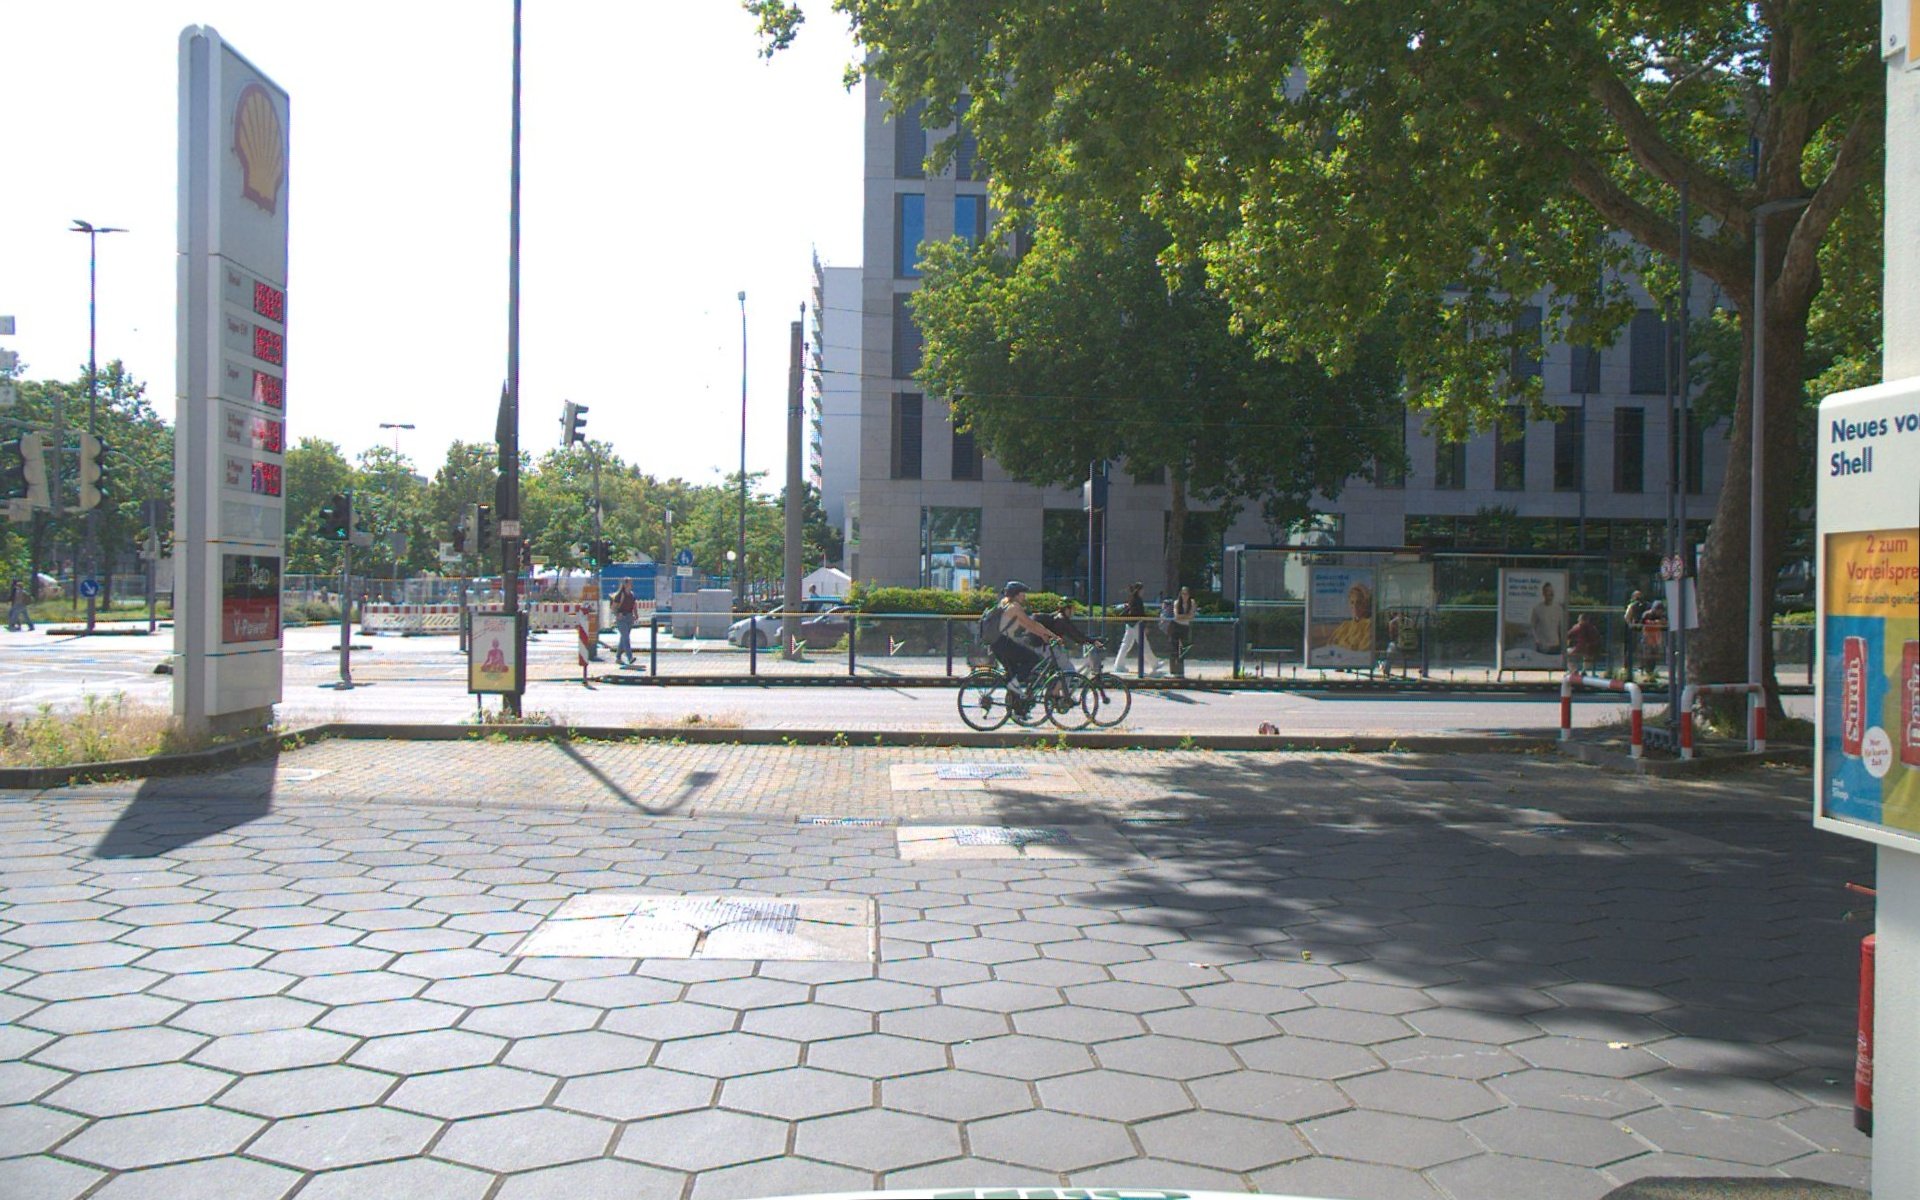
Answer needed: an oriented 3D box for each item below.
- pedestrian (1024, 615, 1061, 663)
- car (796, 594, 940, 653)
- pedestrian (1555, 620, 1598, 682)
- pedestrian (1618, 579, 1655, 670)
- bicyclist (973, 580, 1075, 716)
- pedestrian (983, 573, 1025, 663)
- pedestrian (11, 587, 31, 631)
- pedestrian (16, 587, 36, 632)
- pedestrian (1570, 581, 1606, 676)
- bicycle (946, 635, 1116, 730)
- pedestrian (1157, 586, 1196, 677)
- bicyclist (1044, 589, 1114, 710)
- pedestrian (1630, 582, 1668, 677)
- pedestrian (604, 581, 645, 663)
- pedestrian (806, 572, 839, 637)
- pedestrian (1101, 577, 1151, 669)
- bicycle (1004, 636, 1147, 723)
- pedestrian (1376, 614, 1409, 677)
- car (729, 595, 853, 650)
[{"bbox_3d":[1.570,0.747,31.577,0.676,0.895,0.503,1,0,5],"label":"pedestrian"},{"bbox_3d":[-2.621,0.647,46.679,3.913,1.579,1.700,1,0,-9],"label":"car"},{"bbox_3d":[11.606,0.954,31.129,0.615,1.158,0.524,1,0,3],"label":"pedestrian"},{"bbox_3d":[13.329,0.480,32.609,0.489,1.766,0.524,1,0,-1],"label":"pedestrian"},{"bbox_3d":[0.769,0.575,20.087,1.147,1.608,0.639,1,0,-7],"label":"bicyclist"},{"bbox_3d":[0.848,0.340,31.649,0.760,1.712,0.503,1,0,6],"label":"pedestrian"},{"bbox_3d":[-31.971,0.293,56.304,0.557,1.494,0.509,1,0,-28],"label":"pedestrian"},{"bbox_3d":[-31.299,0.322,55.434,0.557,1.494,0.509,1,0,-28],"label":"pedestrian"},{"bbox_3d":[11.848,0.535,31.209,0.489,1.766,0.406,1,0,-1],"label":"pedestrian"},{"bbox_3d":[0.853,0.996,20.089,1.981,1.101,0.639,1,0,-6],"label":"bicycle"},{"bbox_3d":[3.974,0.570,30.416,0.572,1.619,0.670,1,1,-4],"label":"pedestrian"},{"bbox_3d":[1.575,0.652,21.941,0.846,1.571,0.534,1,-1,-4],"label":"bicyclist"},{"bbox_3d":[12.952,0.557,31.094,0.489,1.766,0.524,1,0,-1],"label":"pedestrian"},{"bbox_3d":[-6.454,0.420,31.838,0.636,1.567,0.503,1,0,6],"label":"pedestrian"},{"bbox_3d":[-4.855,0.156,58.384,1.086,2.287,1.102,1,0,-3],"label":"pedestrian"},{"bbox_3d":[3.144,0.425,31.365,0.912,1.712,0.503,1,0,6],"label":"pedestrian"},{"bbox_3d":[1.524,1.047,21.937,1.824,1.101,0.524,1,0,-5],"label":"bicycle"},{"bbox_3d":[8.067,0.843,30.828,0.488,1.158,0.524,1,0,3],"label":"pedestrian"},{"bbox_3d":[-5.079,0.659,49.567,3.614,1.579,1.589,1,0,-9],"label":"car"}]
